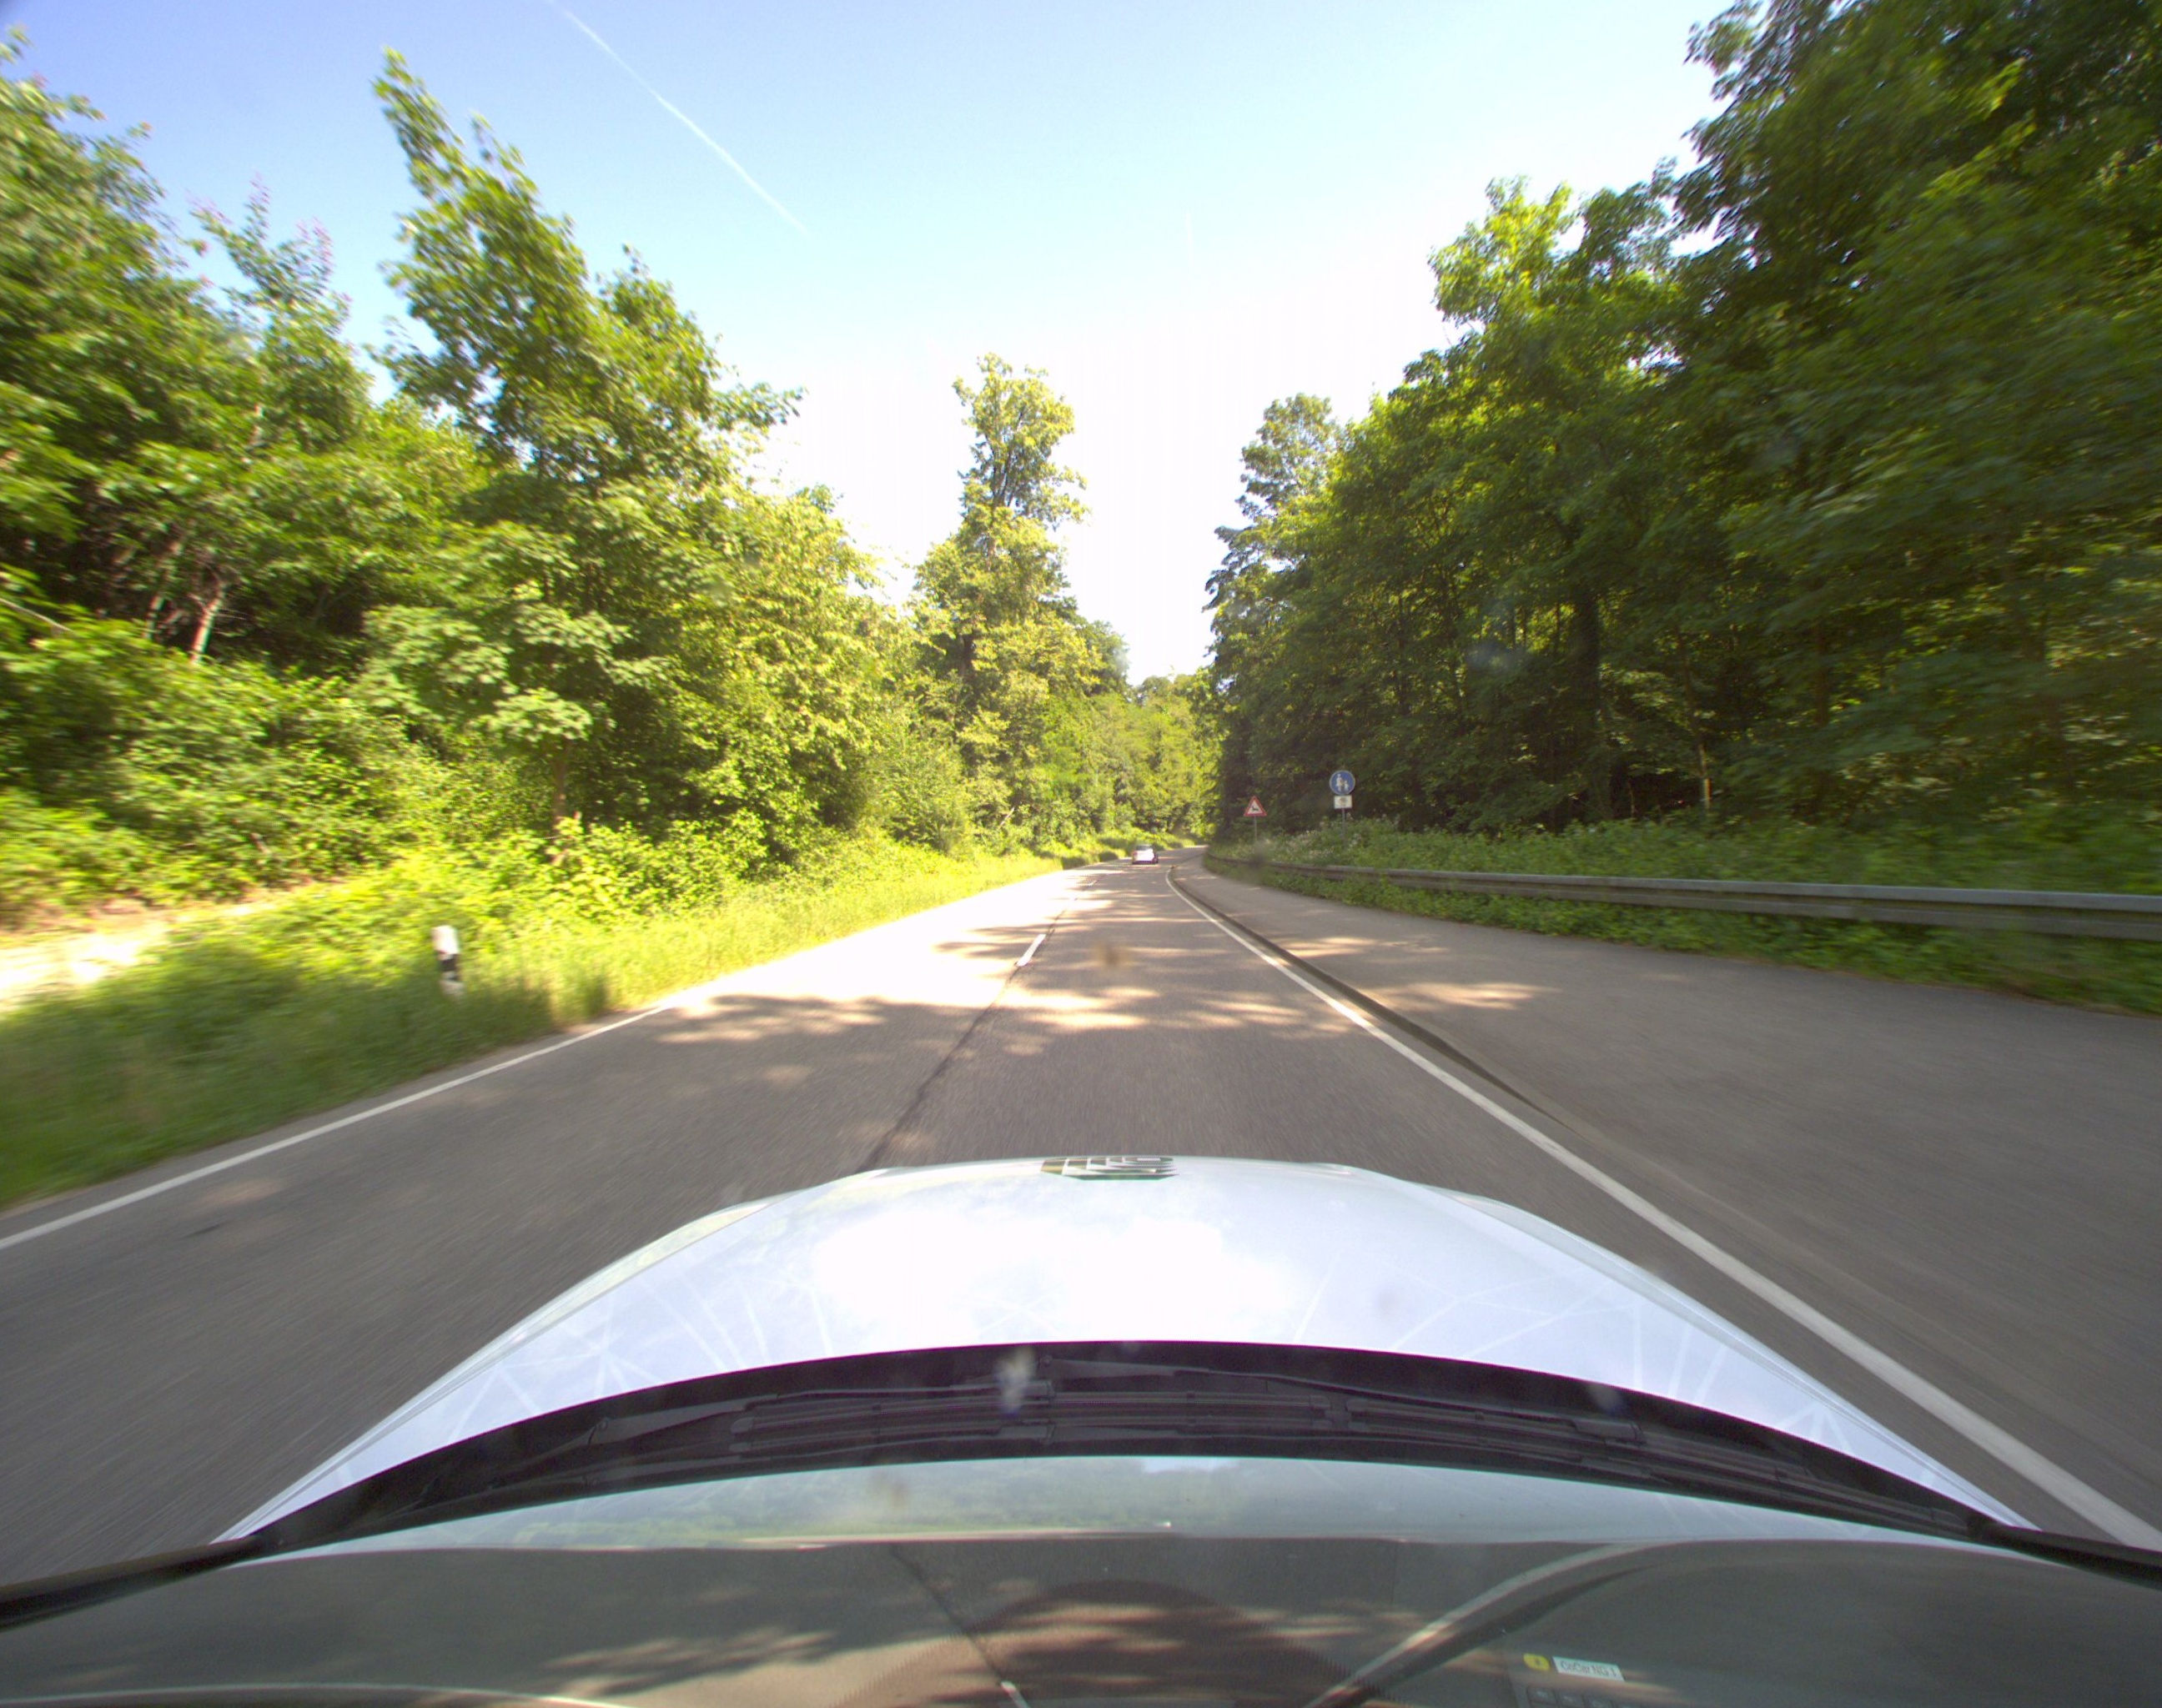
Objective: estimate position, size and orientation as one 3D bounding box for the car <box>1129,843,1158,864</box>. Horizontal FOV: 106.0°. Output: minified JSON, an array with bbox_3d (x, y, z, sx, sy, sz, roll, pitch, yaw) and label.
[{"bbox_3d":[4.816,-0.085,62.158,1.740,1.520,4.171,-1,1,10],"label":"car"}]
